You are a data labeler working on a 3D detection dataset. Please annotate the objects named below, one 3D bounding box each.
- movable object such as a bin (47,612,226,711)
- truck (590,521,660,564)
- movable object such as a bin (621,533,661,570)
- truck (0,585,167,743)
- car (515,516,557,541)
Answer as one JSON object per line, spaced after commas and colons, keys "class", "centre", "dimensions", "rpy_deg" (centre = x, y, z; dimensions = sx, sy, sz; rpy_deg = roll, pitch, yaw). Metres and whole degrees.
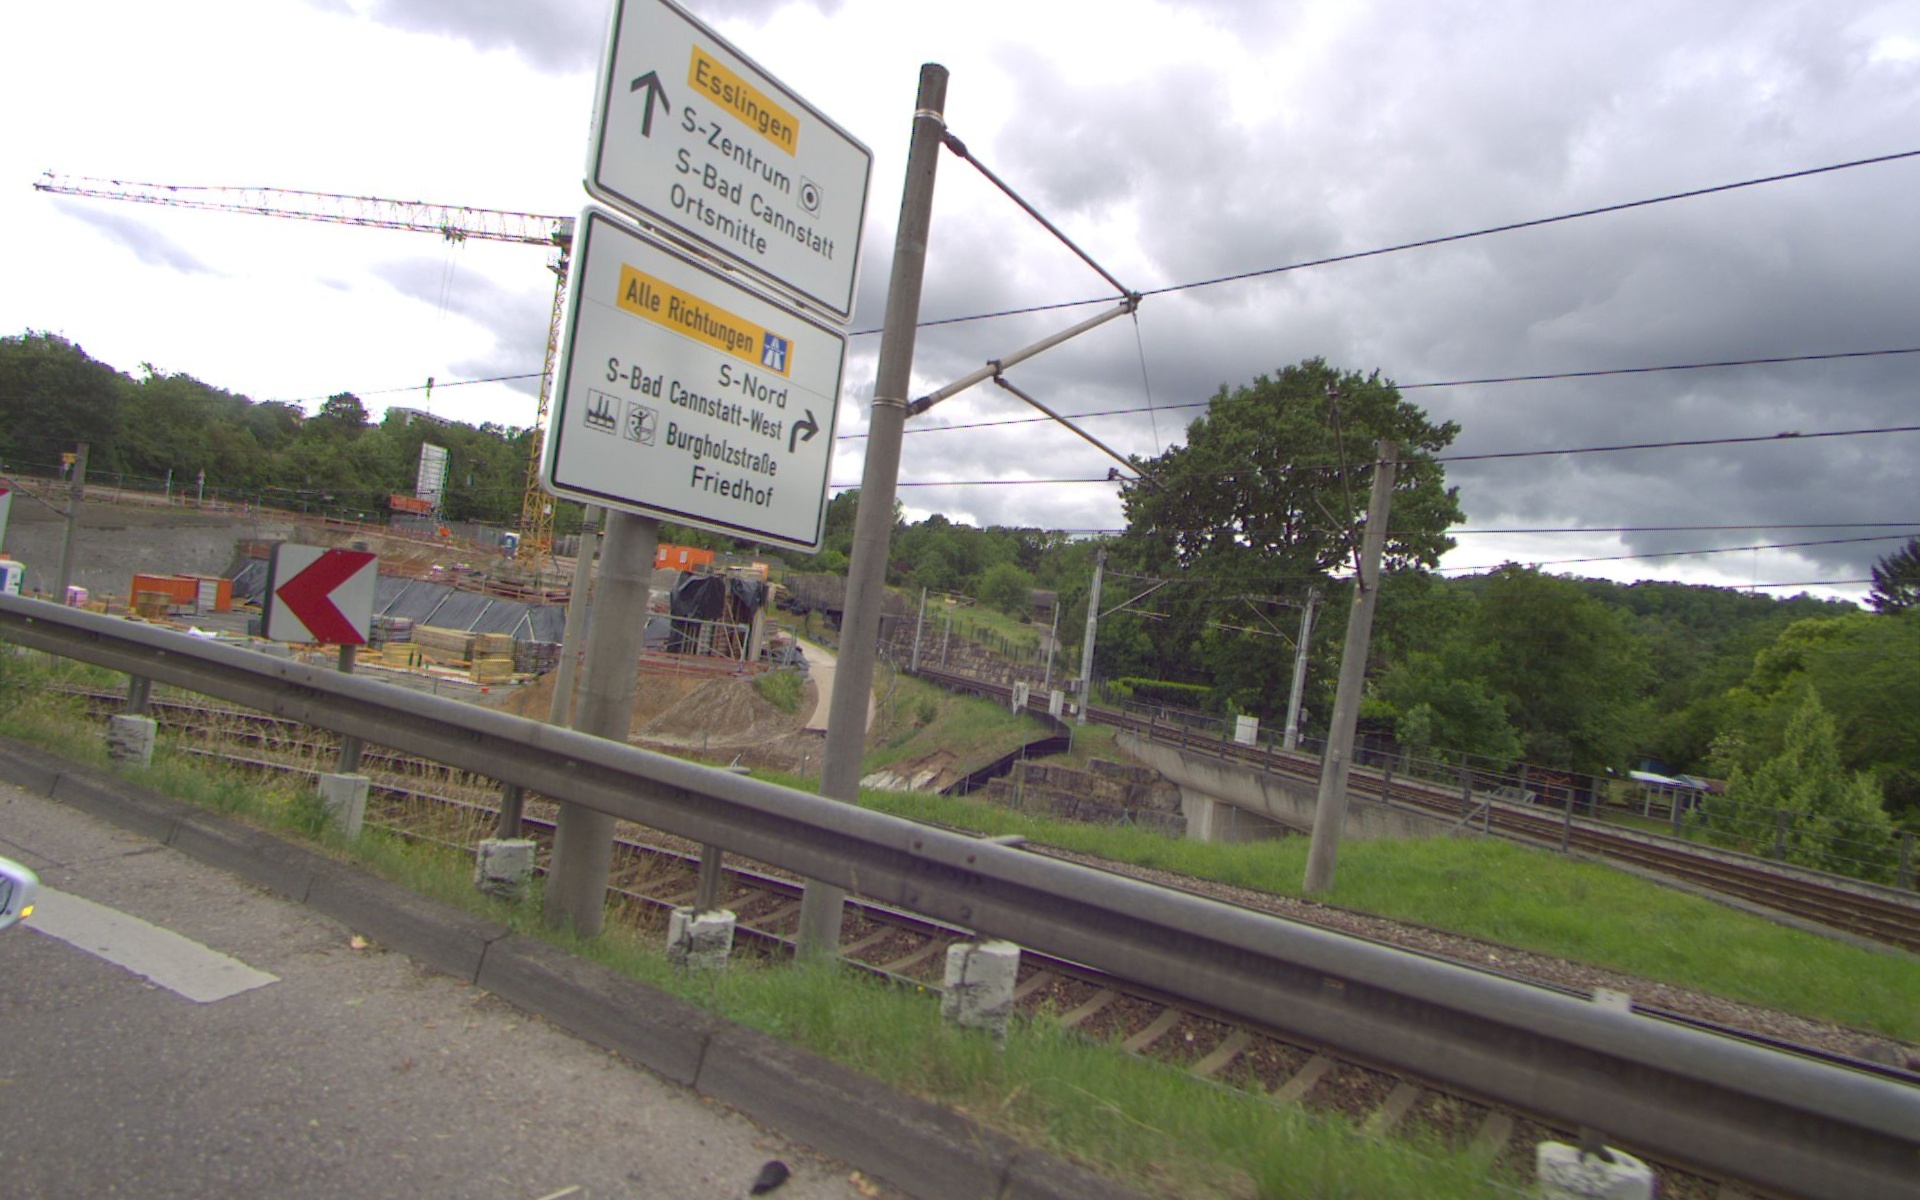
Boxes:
{"class": "movable object such as a bin", "centre": [-30.448, 2.259, 37.288], "dimensions": [4.207, 2.781, 3.050], "rpy_deg": [10, 0, 17]}
{"class": "truck", "centre": [-45.200, -7.708, 136.147], "dimensions": [3.062, 4.270, 9.798], "rpy_deg": [8, -1, 19]}
{"class": "movable object such as a bin", "centre": [-30.849, -4.702, 97.294], "dimensions": [2.748, 3.114, 1.841], "rpy_deg": [7, -1, 20]}
{"class": "truck", "centre": [-31.819, 1.373, 31.390], "dimensions": [11.411, 3.938, 2.847], "rpy_deg": [10, -1, 0]}
{"class": "car", "centre": [-47.638, -8.005, 113.119], "dimensions": [1.964, 2.037, 4.000], "rpy_deg": [7, -1, 23]}
